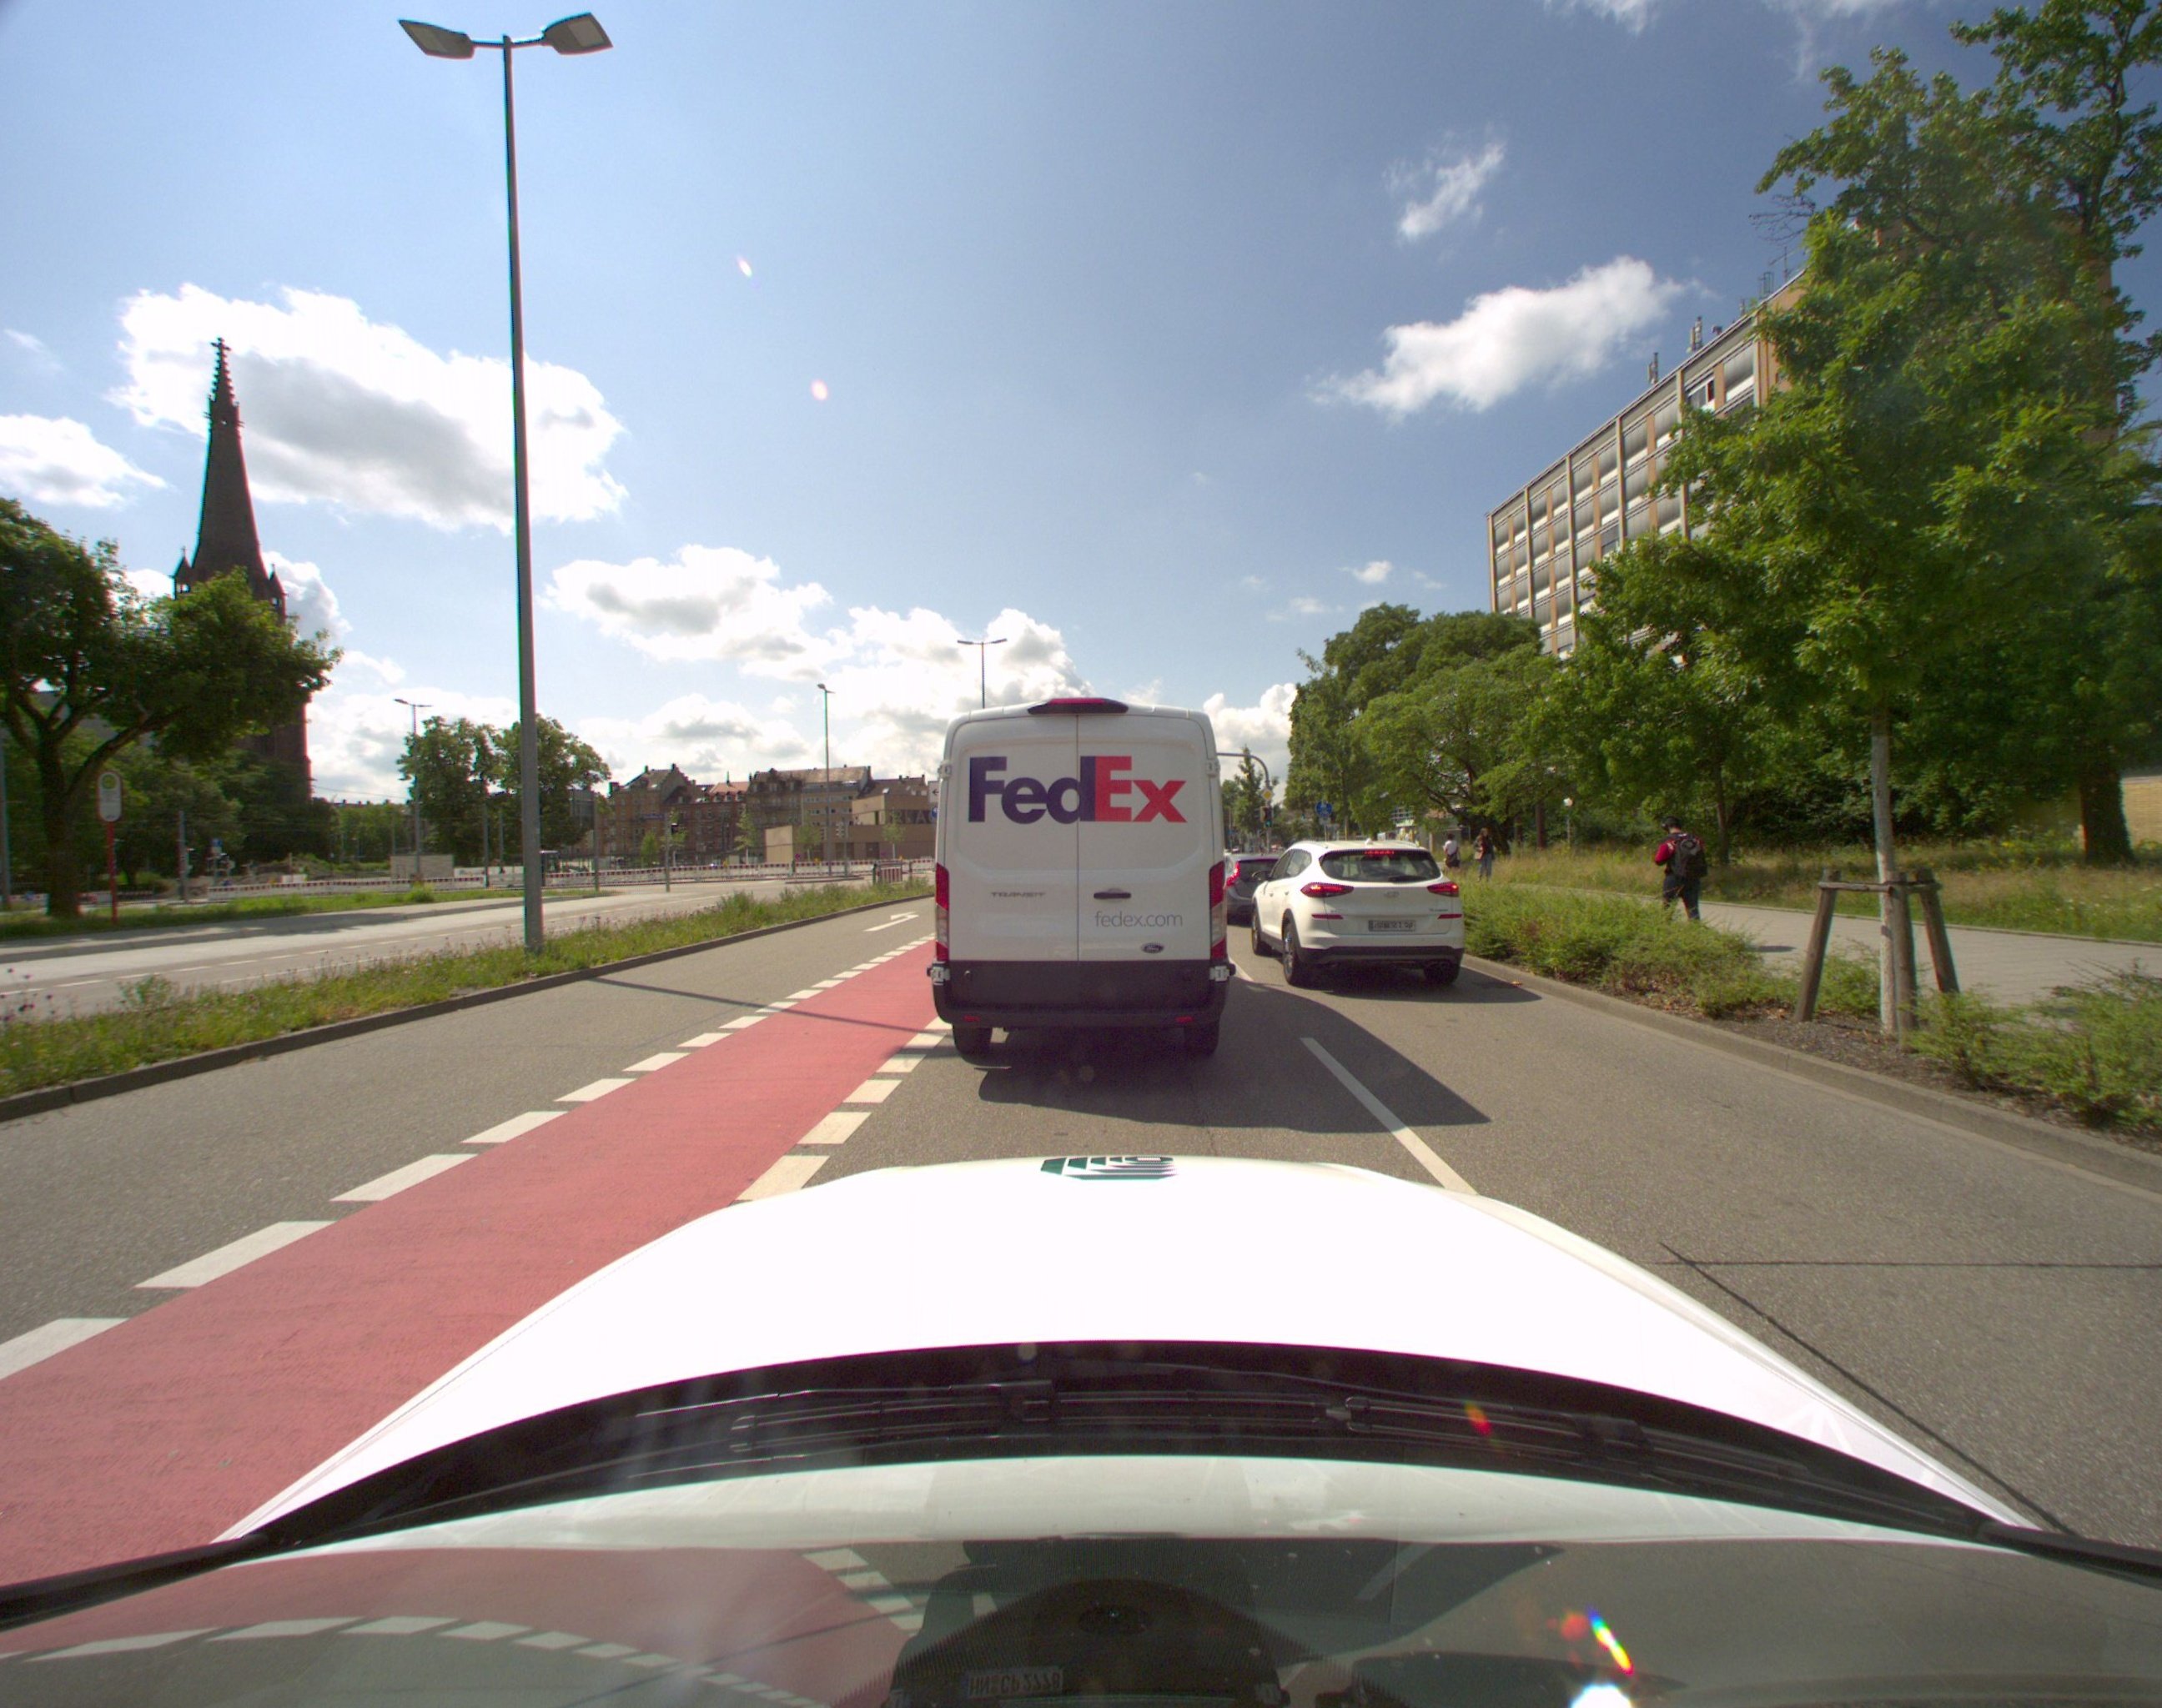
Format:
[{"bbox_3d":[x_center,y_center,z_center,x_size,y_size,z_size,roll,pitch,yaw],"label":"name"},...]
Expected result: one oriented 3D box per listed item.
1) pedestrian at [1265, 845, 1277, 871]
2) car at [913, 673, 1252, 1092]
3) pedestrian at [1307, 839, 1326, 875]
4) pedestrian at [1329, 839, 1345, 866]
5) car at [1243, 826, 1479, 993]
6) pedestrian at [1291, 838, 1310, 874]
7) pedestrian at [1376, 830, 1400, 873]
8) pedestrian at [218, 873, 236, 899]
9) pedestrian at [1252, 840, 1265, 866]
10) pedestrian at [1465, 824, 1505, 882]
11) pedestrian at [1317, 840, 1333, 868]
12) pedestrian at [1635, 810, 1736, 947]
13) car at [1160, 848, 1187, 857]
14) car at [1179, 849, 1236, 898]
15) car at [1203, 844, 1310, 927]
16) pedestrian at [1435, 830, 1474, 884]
[{"bbox_3d":[13.720,0.311,58.886,0.753,1.849,0.820,-2,0,16],"label":"pedestrian"},{"bbox_3d":[0.133,0.172,7.340,2.064,2.581,4.432,-2,0,3],"label":"car"},{"bbox_3d":[12.401,0.161,42.938,0.756,1.849,0.817,-2,0,2],"label":"pedestrian"},{"bbox_3d":[17.615,-0.093,56.083,0.758,1.849,0.814,-2,0,-6],"label":"pedestrian"},{"bbox_3d":[3.275,0.557,10.381,1.807,1.678,3.978,-2,0,3],"label":"car"},{"bbox_3d":[11.478,0.080,42.618,0.756,1.849,0.816,-2,0,0],"label":"pedestrian"},{"bbox_3d":[13.098,-0.125,34.744,0.754,1.789,0.818,-2,0,10],"label":"pedestrian"},{"bbox_3d":[-66.061,2.481,63.024,0.629,2.013,0.648,-2,0,-4],"label":"pedestrian"},{"bbox_3d":[13.021,-0.081,59.753,0.810,1.849,0.762,-2,0,5],"label":"pedestrian"},{"bbox_3d":[11.895,-0.025,23.996,0.755,1.655,0.817,-2,0,5],"label":"pedestrian"},{"bbox_3d":[16.720,0.005,55.785,0.758,1.849,0.814,-2,0,-8],"label":"pedestrian"},{"bbox_3d":[7.756,0.303,10.489,0.753,1.684,0.819,-2,0,13],"label":"pedestrian"},{"bbox_3d":[16.134,-0.273,142.804,4.416,1.648,1.909,-1,-1,42],"label":"car"},{"bbox_3d":[4.124,0.581,26.881,1.493,1.464,3.477,-2,0,3],"label":"car"},{"bbox_3d":[3.685,0.596,17.646,1.684,1.549,3.724,-2,0,3],"label":"car"},{"bbox_3d":[11.075,0.094,24.171,0.756,1.557,0.817,-2,0,2],"label":"pedestrian"}]
